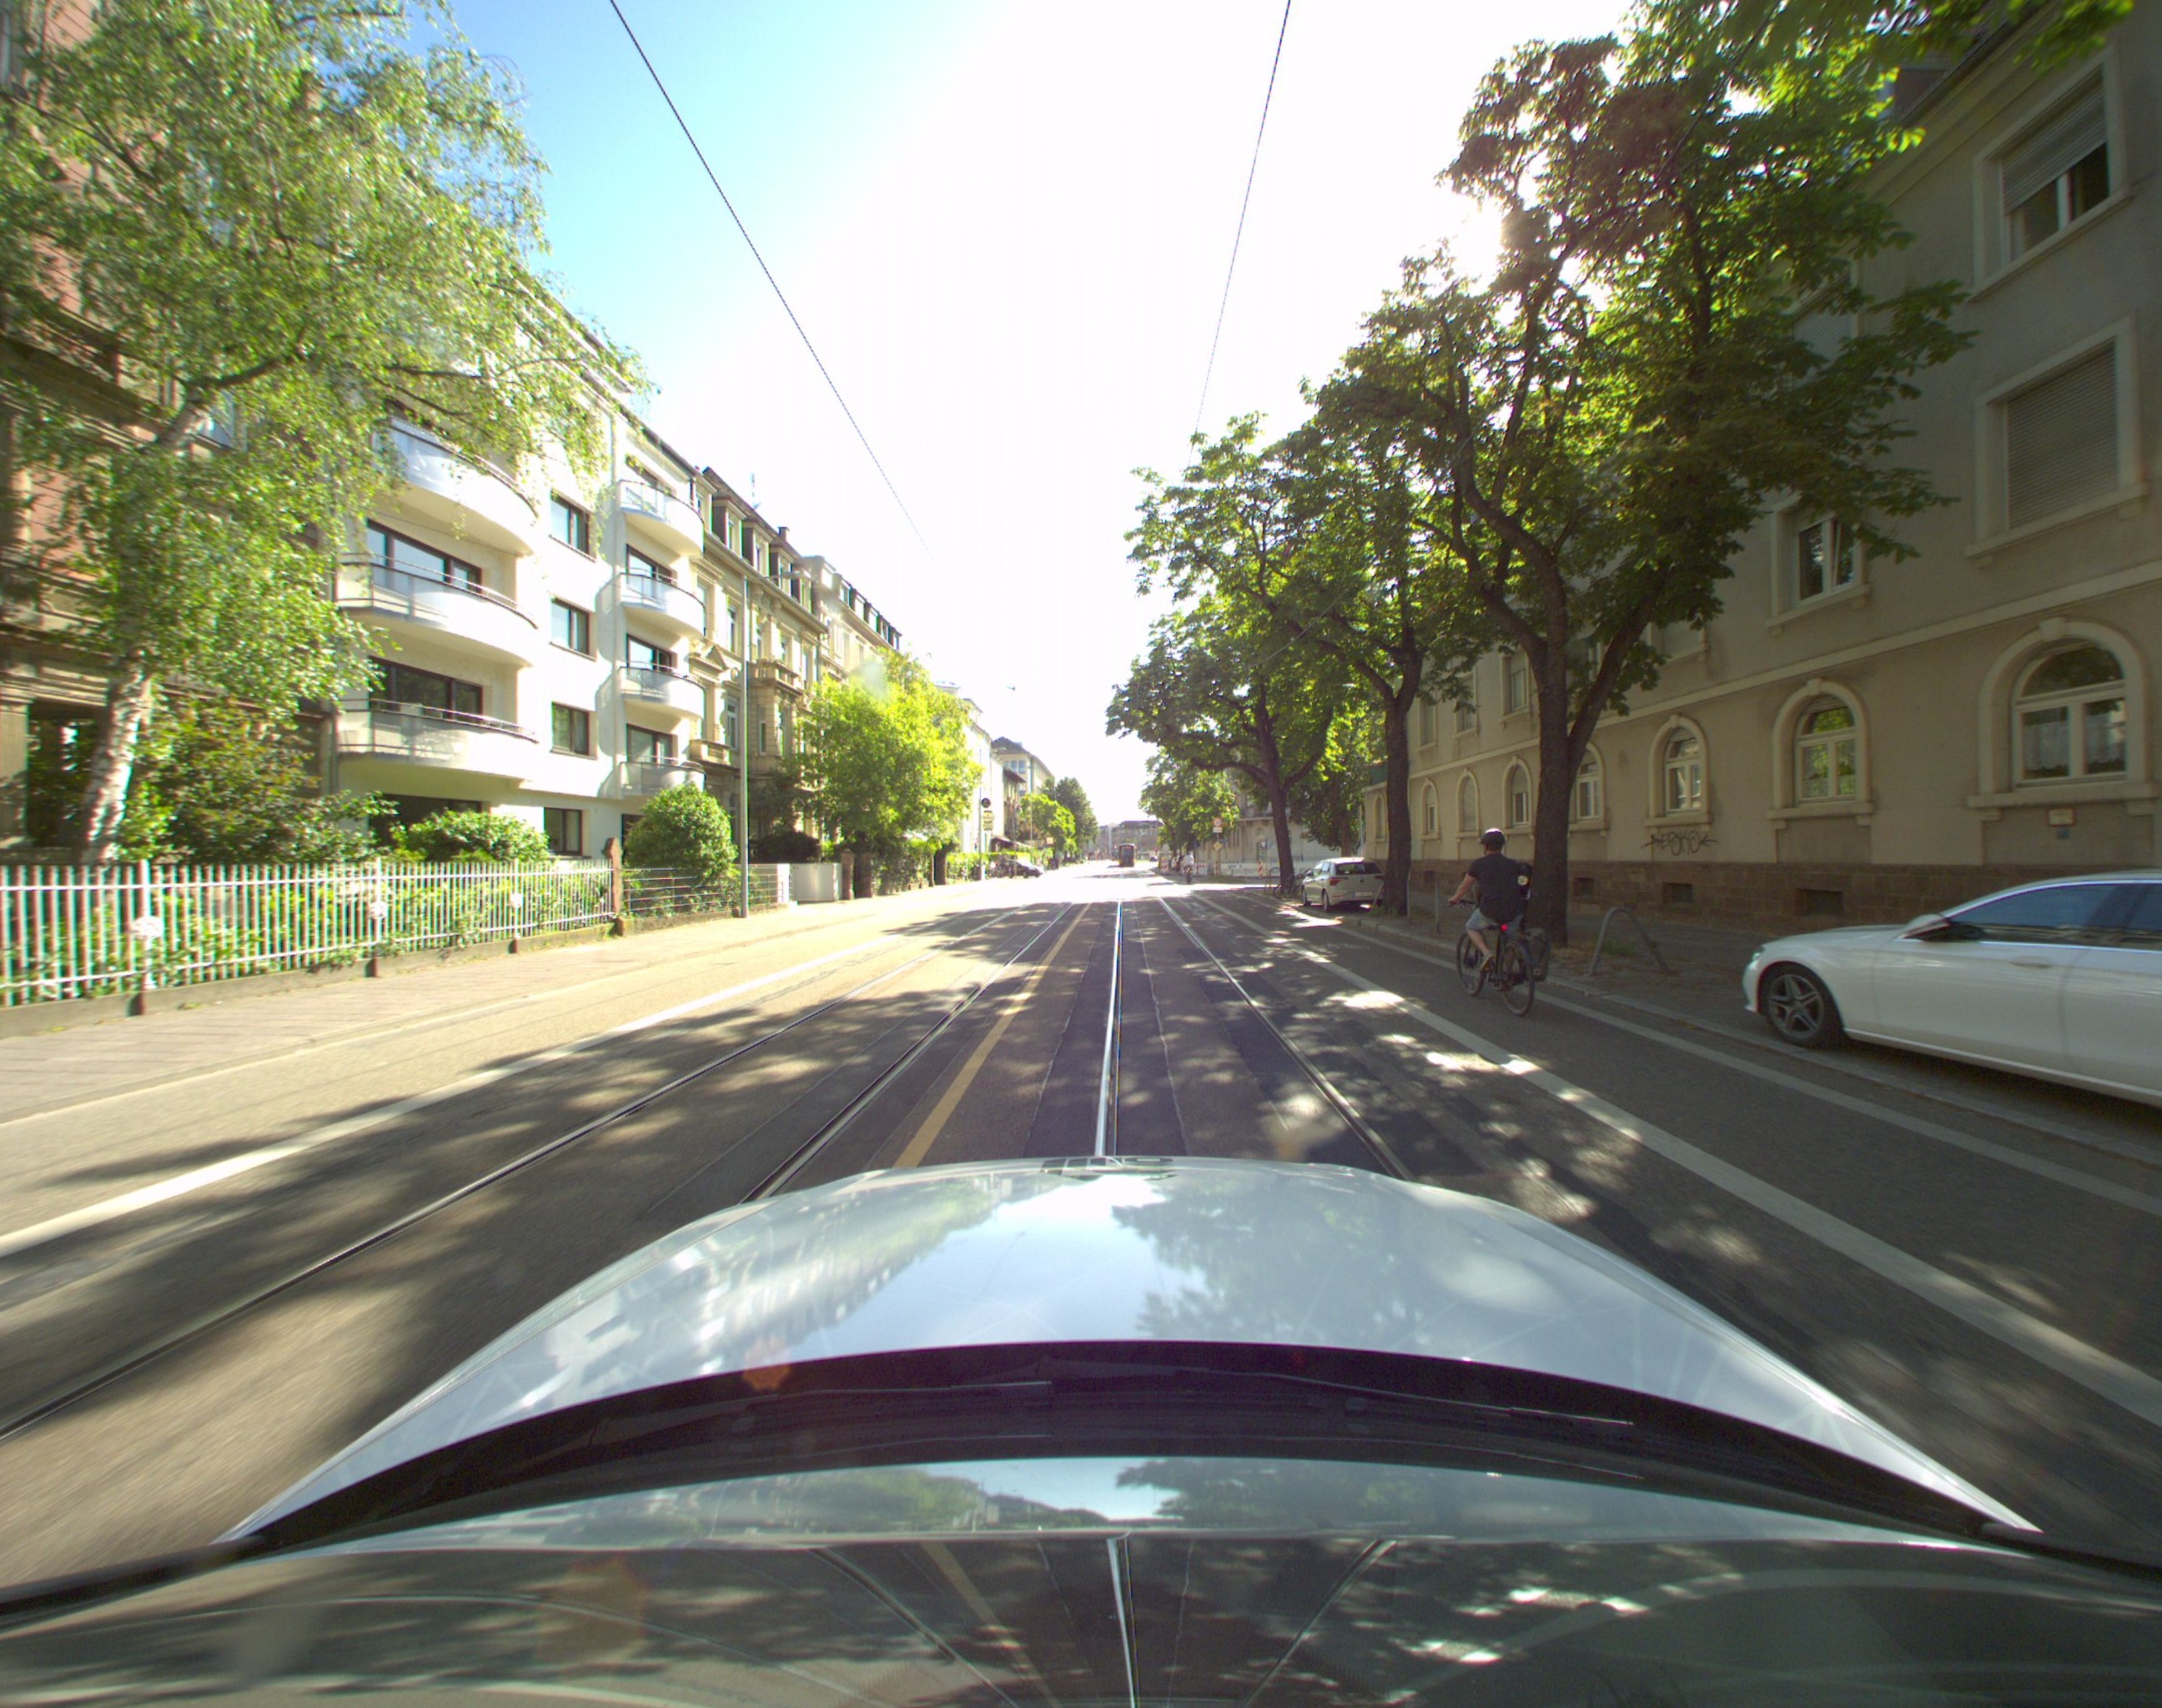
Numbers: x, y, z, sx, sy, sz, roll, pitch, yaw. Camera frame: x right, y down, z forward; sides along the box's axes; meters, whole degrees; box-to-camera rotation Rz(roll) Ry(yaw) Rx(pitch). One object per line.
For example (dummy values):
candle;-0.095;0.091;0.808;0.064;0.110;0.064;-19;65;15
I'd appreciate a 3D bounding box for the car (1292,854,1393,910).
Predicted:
car;7.380;0.741;23.385;1.742;1.420;4.002;-2;0;2

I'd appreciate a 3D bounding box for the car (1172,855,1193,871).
car;10.126;0.873;81.235;1.747;1.552;3.679;1;0;3

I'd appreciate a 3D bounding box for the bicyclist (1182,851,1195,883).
bicyclist;6.072;0.726;45.951;0.643;1.796;0.956;1;0;2

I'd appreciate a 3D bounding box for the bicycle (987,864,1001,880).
bicycle;-5.919;1.216;55.447;0.634;1.069;1.822;1;0;-15

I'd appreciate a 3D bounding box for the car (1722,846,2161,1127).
car;6.439;0.686;4.799;1.623;1.436;4.664;-1;0;0

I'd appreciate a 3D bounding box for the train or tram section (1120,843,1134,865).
train or tram section;7.225;-0.039;128.707;2.145;3.432;6.615;1;0;3

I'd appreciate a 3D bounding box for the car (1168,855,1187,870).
car;10.614;0.953;89.843;1.747;1.552;3.679;1;0;3

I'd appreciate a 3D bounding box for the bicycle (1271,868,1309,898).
bicycle;7.394;1.036;28.878;1.262;1.024;0.706;1;-1;10

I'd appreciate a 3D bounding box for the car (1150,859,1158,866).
car;18.285;2.125;204.117;1.864;1.662;3.517;1;0;3

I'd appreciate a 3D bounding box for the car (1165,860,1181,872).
car;11.976;1.554;106.178;1.747;1.552;3.679;0;0;3

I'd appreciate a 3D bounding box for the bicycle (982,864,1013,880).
bicycle;-6.183;1.329;60.086;2.122;1.171;0.806;1;0;17

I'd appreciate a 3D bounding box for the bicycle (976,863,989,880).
bicycle;-6.621;1.168;54.580;0.633;1.069;1.823;1;0;-14

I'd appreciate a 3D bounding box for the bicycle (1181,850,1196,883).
bicycle;6.139;0.683;46.573;0.660;1.859;2.262;1;0;4

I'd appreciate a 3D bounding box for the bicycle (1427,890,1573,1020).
bicycle;4.226;0.965;8.359;0.689;1.112;1.720;1;0;3

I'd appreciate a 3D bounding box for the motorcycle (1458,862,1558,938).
motorcycle;7.660;0.785;14.742;0.707;1.243;2.186;-1;0;2

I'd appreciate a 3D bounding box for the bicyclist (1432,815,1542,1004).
bicyclist;4.168;0.545;8.415;0.724;1.848;0.837;1;0;2

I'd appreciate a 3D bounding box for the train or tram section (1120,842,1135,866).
train or tram section;6.924;-0.047;122.079;2.145;3.432;6.615;1;0;3

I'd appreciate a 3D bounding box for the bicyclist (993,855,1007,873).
bicyclist;-5.949;0.732;60.010;0.766;1.291;0.737;1;0;19

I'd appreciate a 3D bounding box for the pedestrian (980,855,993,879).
pedestrian;-6.683;0.914;57.767;0.767;1.712;0.669;1;0;3

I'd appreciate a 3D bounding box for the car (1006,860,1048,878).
car;-4.404;1.219;65.984;1.768;1.420;3.539;1;-2;-38
